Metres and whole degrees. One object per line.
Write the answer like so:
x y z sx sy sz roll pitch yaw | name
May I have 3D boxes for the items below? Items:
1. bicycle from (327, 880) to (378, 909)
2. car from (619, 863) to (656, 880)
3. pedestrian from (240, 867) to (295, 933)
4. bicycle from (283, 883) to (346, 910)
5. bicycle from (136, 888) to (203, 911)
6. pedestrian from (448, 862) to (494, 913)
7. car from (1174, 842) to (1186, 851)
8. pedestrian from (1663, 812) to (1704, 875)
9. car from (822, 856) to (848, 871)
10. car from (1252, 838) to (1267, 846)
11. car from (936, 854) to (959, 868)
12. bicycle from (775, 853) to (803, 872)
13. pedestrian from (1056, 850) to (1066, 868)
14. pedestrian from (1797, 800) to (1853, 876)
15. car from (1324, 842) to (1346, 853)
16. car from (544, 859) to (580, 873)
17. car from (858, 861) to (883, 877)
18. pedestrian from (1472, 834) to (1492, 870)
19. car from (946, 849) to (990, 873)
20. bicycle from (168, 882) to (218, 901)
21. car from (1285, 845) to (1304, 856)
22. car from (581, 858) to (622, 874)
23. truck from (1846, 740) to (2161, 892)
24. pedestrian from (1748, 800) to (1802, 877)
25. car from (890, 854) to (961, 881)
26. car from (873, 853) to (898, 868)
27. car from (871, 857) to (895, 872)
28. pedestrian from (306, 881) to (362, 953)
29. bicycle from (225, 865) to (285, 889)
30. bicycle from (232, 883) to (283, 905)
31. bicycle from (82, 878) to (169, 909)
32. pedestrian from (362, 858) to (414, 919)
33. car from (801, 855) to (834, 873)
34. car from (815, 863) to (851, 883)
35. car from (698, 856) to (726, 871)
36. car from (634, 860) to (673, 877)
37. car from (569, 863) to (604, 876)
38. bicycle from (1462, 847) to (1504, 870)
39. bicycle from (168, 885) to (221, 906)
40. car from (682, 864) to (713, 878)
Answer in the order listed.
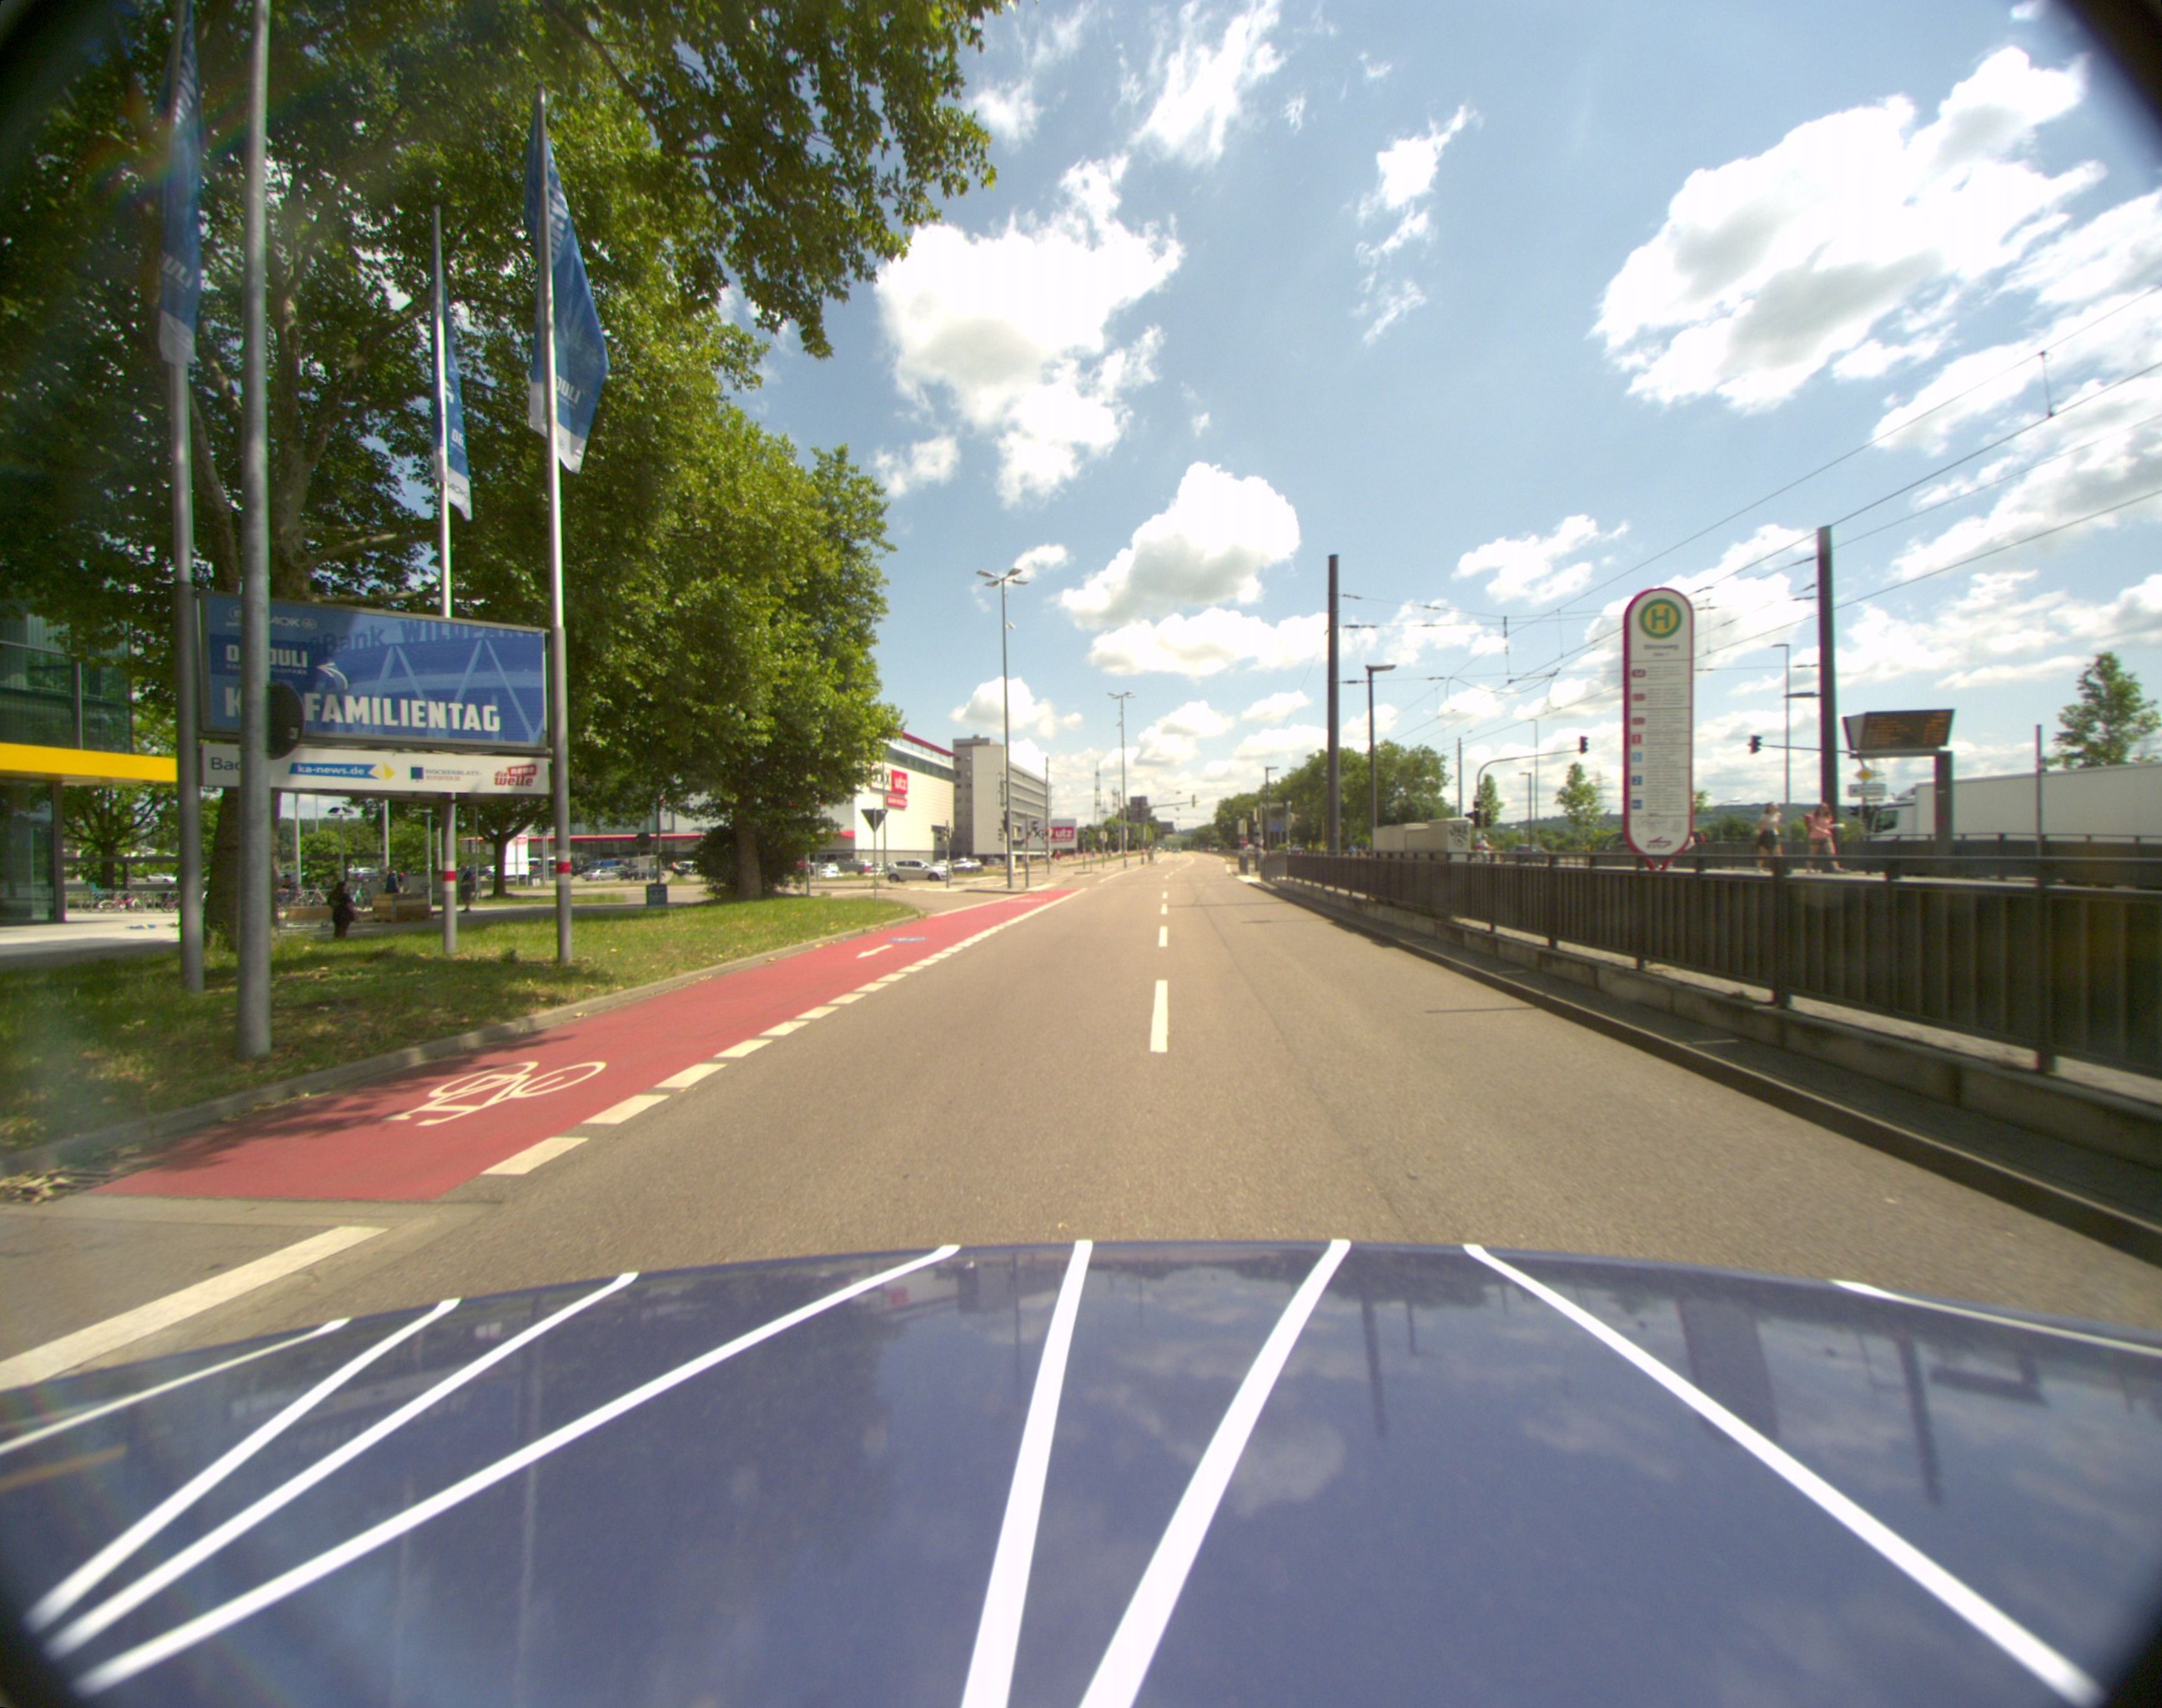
-29.600 1.643 30.900 0.504 1.101 1.924 1 -1 -9 | bicycle
-57.107 2.219 97.909 1.840 1.978 4.086 -1 1 7 | car
-23.788 1.325 22.231 0.889 1.874 0.971 2 -1 -37 | pedestrian
-30.863 1.695 30.624 0.423 0.989 1.869 -2 0 10 | bicycle
-37.900 1.891 31.627 0.423 0.876 1.869 -1 -1 4 | bicycle
-23.279 1.263 29.009 0.972 1.891 1.012 0 1 23 | pedestrian
22.261 -1.605 170.807 1.996 2.002 4.005 -2 0 15 | car
16.963 -0.291 21.399 0.729 1.711 0.525 -2 0 12 | pedestrian
-35.408 1.337 109.535 1.997 1.977 4.088 -1 0 8 | car
38.239 -2.569 162.524 1.995 1.797 5.143 -1 0 26 | car
-19.847 1.031 113.121 1.997 1.977 4.365 -1 0 8 | car
-26.770 0.806 69.652 2.045 1.665 1.021 -2 0 8 | bicycle
-2.236 0.545 83.295 0.868 1.828 0.796 -2 3 -20 | pedestrian
17.181 -0.364 17.557 0.600 1.711 0.709 -2 0 11 | pedestrian
33.903 -0.927 101.626 1.669 1.401 3.892 -2 1 1 | car
-79.380 1.822 116.254 1.997 1.977 4.365 -1 0 8 | car
-27.366 1.915 98.860 1.999 1.977 5.307 -1 0 -4 | car
20.145 -0.090 38.190 0.671 1.758 0.613 -2 1 10 | pedestrian
-10.103 0.614 68.001 1.995 2.002 4.007 -2 0 25 | car
-48.061 2.031 41.157 0.423 0.988 1.869 -1 -2 4 | bicycle
34.644 -0.649 123.522 1.812 1.649 4.322 3 0 1 | car
-61.863 1.515 98.120 1.997 1.977 4.365 -1 0 8 | car
30.807 -1.108 23.579 2.949 4.081 12.001 -2 1 5 | truck
16.317 -0.357 17.875 0.636 1.738 0.678 -3 1 11 | pedestrian
-9.626 0.833 47.198 3.829 1.461 1.900 -2 2 6 | car
-28.023 0.926 109.042 1.997 1.977 4.629 -1 0 7 | car
-28.238 1.441 108.236 1.998 2.002 4.002 -2 0 5 | car
-17.791 1.490 18.104 0.718 1.654 0.594 2 0 12 | pedestrian
-35.265 0.987 32.454 0.423 0.988 1.869 0 -1 4 | bicycle
-41.481 1.997 38.300 0.423 0.989 1.868 0 0 4 | bicycle
-40.266 1.658 32.061 0.719 1.222 2.150 -2 -1 18 | bicycle
-24.193 1.192 26.547 0.972 2.060 1.012 -1 0 23 | pedestrian
-32.551 1.216 93.958 1.997 1.978 4.599 0 1 8 | car
-26.933 2.039 82.602 1.997 1.977 4.365 -1 0 8 | car
-54.650 1.401 112.705 1.775 2.002 4.002 -2 0 8 | car
-54.746 1.880 97.368 1.997 1.978 4.364 -1 1 8 | car
-75.021 2.334 115.282 1.997 1.977 4.365 -1 0 8 | car
20.188 0.210 38.193 1.719 1.081 0.621 -2 1 10 | bicycle
-44.820 2.078 38.434 0.423 0.988 1.869 0 -1 4 | bicycle
-57.116 2.495 113.171 1.997 1.977 4.365 0 0 8 | car
